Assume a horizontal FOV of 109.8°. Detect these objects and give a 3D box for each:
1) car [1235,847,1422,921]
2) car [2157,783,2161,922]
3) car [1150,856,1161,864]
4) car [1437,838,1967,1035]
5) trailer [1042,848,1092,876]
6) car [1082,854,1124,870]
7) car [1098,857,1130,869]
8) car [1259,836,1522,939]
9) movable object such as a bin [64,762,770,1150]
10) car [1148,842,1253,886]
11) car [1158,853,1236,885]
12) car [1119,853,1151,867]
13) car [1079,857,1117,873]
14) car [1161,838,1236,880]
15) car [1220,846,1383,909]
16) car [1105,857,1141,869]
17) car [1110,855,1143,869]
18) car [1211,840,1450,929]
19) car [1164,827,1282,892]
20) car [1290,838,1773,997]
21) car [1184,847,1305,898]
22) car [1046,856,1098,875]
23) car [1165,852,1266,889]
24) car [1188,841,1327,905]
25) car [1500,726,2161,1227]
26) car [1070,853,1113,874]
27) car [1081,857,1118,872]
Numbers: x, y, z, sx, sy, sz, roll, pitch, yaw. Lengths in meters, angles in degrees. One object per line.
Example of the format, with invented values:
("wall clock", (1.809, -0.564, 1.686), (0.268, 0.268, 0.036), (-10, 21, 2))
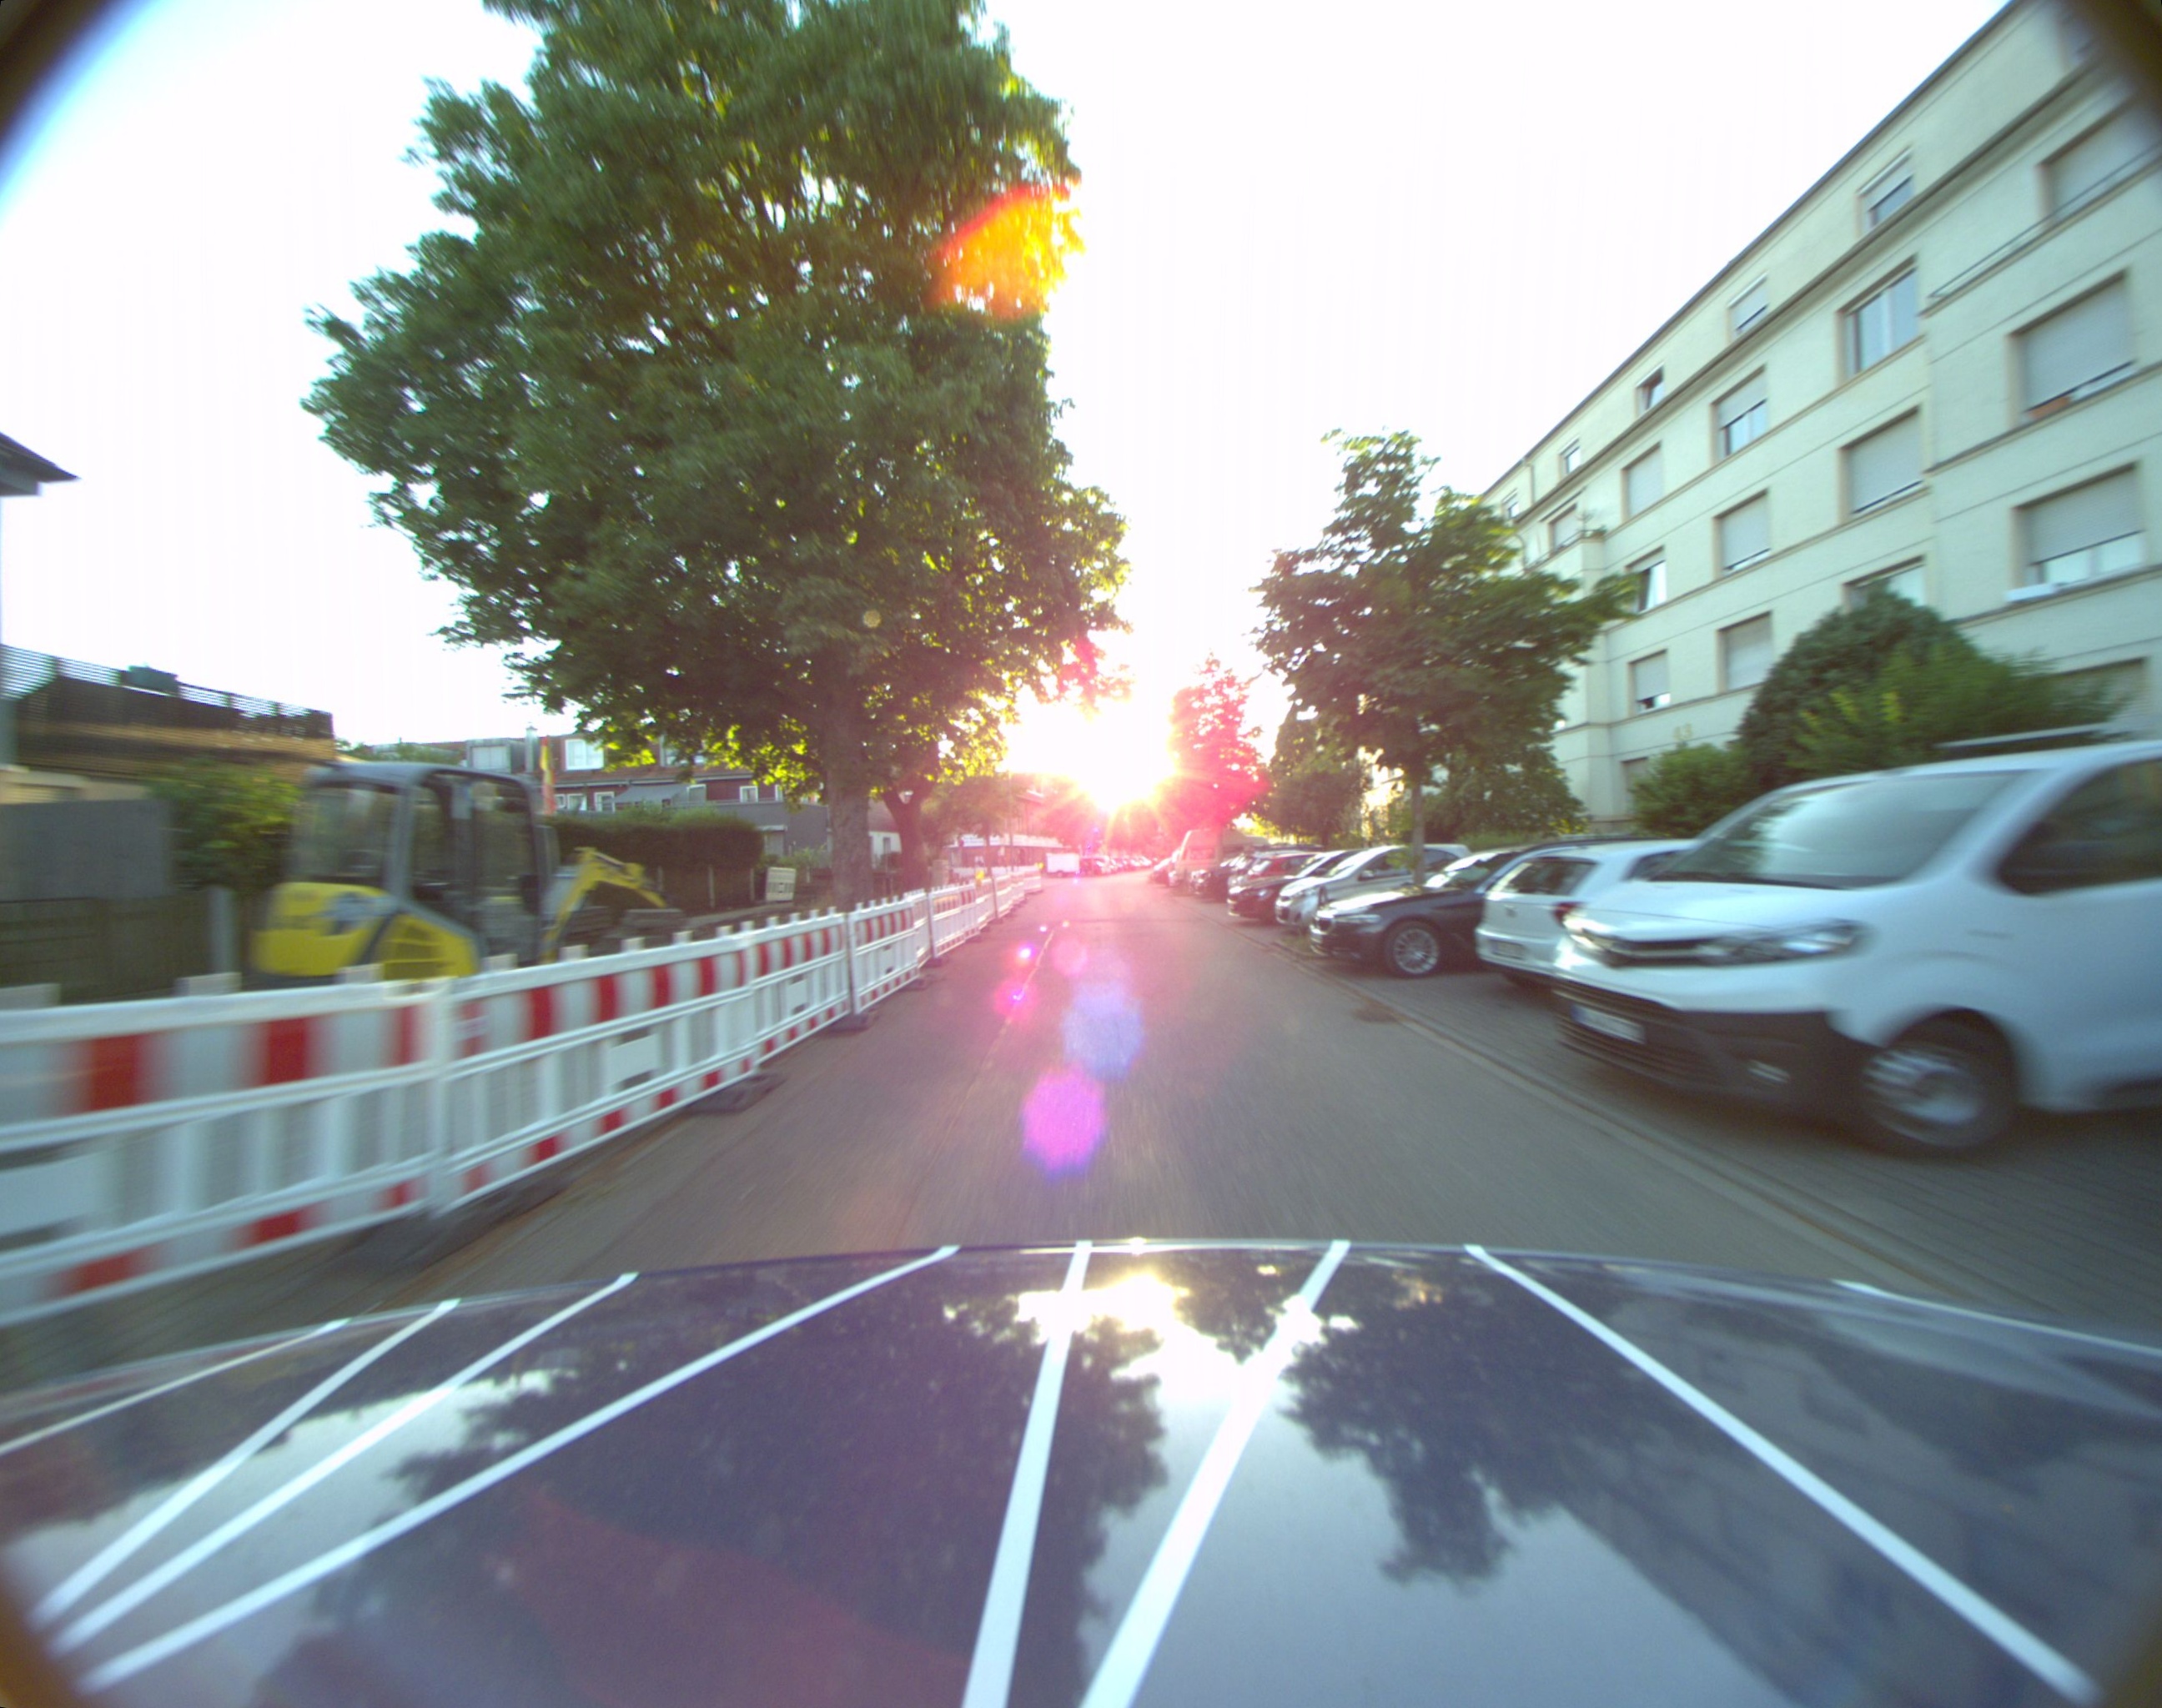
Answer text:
("car", (6.060, 0.710, 18.844), (3.998, 1.574, 1.731), (-2, 0, -4))
("car", (5.257, 0.566, 1.436), (3.998, 1.742, 1.799), (-3, 0, -2))
("car", (15.388, 1.296, 156.334), (1.798, 1.515, 4.003), (-3, 0, 10))
("car", (5.472, 0.686, 7.089), (3.422, 1.475, 1.759), (-3, 0, 2))
("trailer", (-1.172, 0.690, 66.366), (3.994, 2.174, 2.001), (-3, 0, 9))
("car", (2.671, 0.955, 90.588), (4.794, 1.743, 2.019), (1, -1, 9))
("car", (4.507, 1.212, 103.200), (3.993, 1.537, 1.846), (1, 1, 10))
("car", (5.510, 0.577, 13.830), (3.998, 1.569, 1.801), (-2, 0, -4))
("movable object such as a bin", (-5.330, 0.664, 7.544), (2.636, 2.388, 5.195), (-3, 0, -5))
("car", (5.642, 0.469, 36.319), (4.684, 1.862, 2.000), (-3, 0, 2))
("car", (5.917, 0.767, 39.081), (3.777, 1.430, 1.656), (-3, 0, 3))
("car", (9.106, 0.942, 128.175), (4.967, 2.089, 2.153), (-3, 1, 15))
("car", (1.869, 1.145, 83.018), (3.953, 1.556, 1.822), (-3, 0, 8))
("car", (7.746, 0.326, 50.487), (4.741, 2.554, 2.001), (-3, 0, 6))
("car", (6.155, 0.638, 21.508), (3.998, 1.515, 1.789), (-3, 0, -2))
("car", (5.960, 1.231, 107.876), (4.701, 1.622, 2.002), (1, 0, 12))
("car", (6.787, 1.109, 112.899), (4.593, 1.851, 2.014), (2, 1, 12))
("car", (5.210, 0.614, 16.267), (4.419, 1.605, 1.899), (-2, 0, -4))
("car", (5.782, 0.245, 31.416), (4.512, 2.416, 2.001), (-3, 0, 5))
("car", (5.272, 0.697, 9.384), (4.784, 1.462, 1.881), (-4, 1, 0))
("car", (5.676, 0.635, 26.674), (3.869, 1.585, 1.786), (-3, 0, 3))
("car", (-0.818, 1.046, 69.191), (4.435, 1.490, 1.775), (-3, 0, 9))
("car", (5.917, 0.710, 33.817), (4.185, 1.416, 2.000), (-3, 0, 2))
("car", (5.511, 0.592, 24.053), (3.871, 1.766, 1.843), (-3, 0, -2))
("car", (5.272, 0.442, 4.160), (4.784, 2.002, 2.000), (-3, 0, -1))
("car", (1.063, 0.913, 75.360), (3.994, 1.892, 2.001), (-3, 0, 9))
("car", (2.101, 1.139, 85.242), (3.994, 1.609, 1.896), (0, 0, 8))
